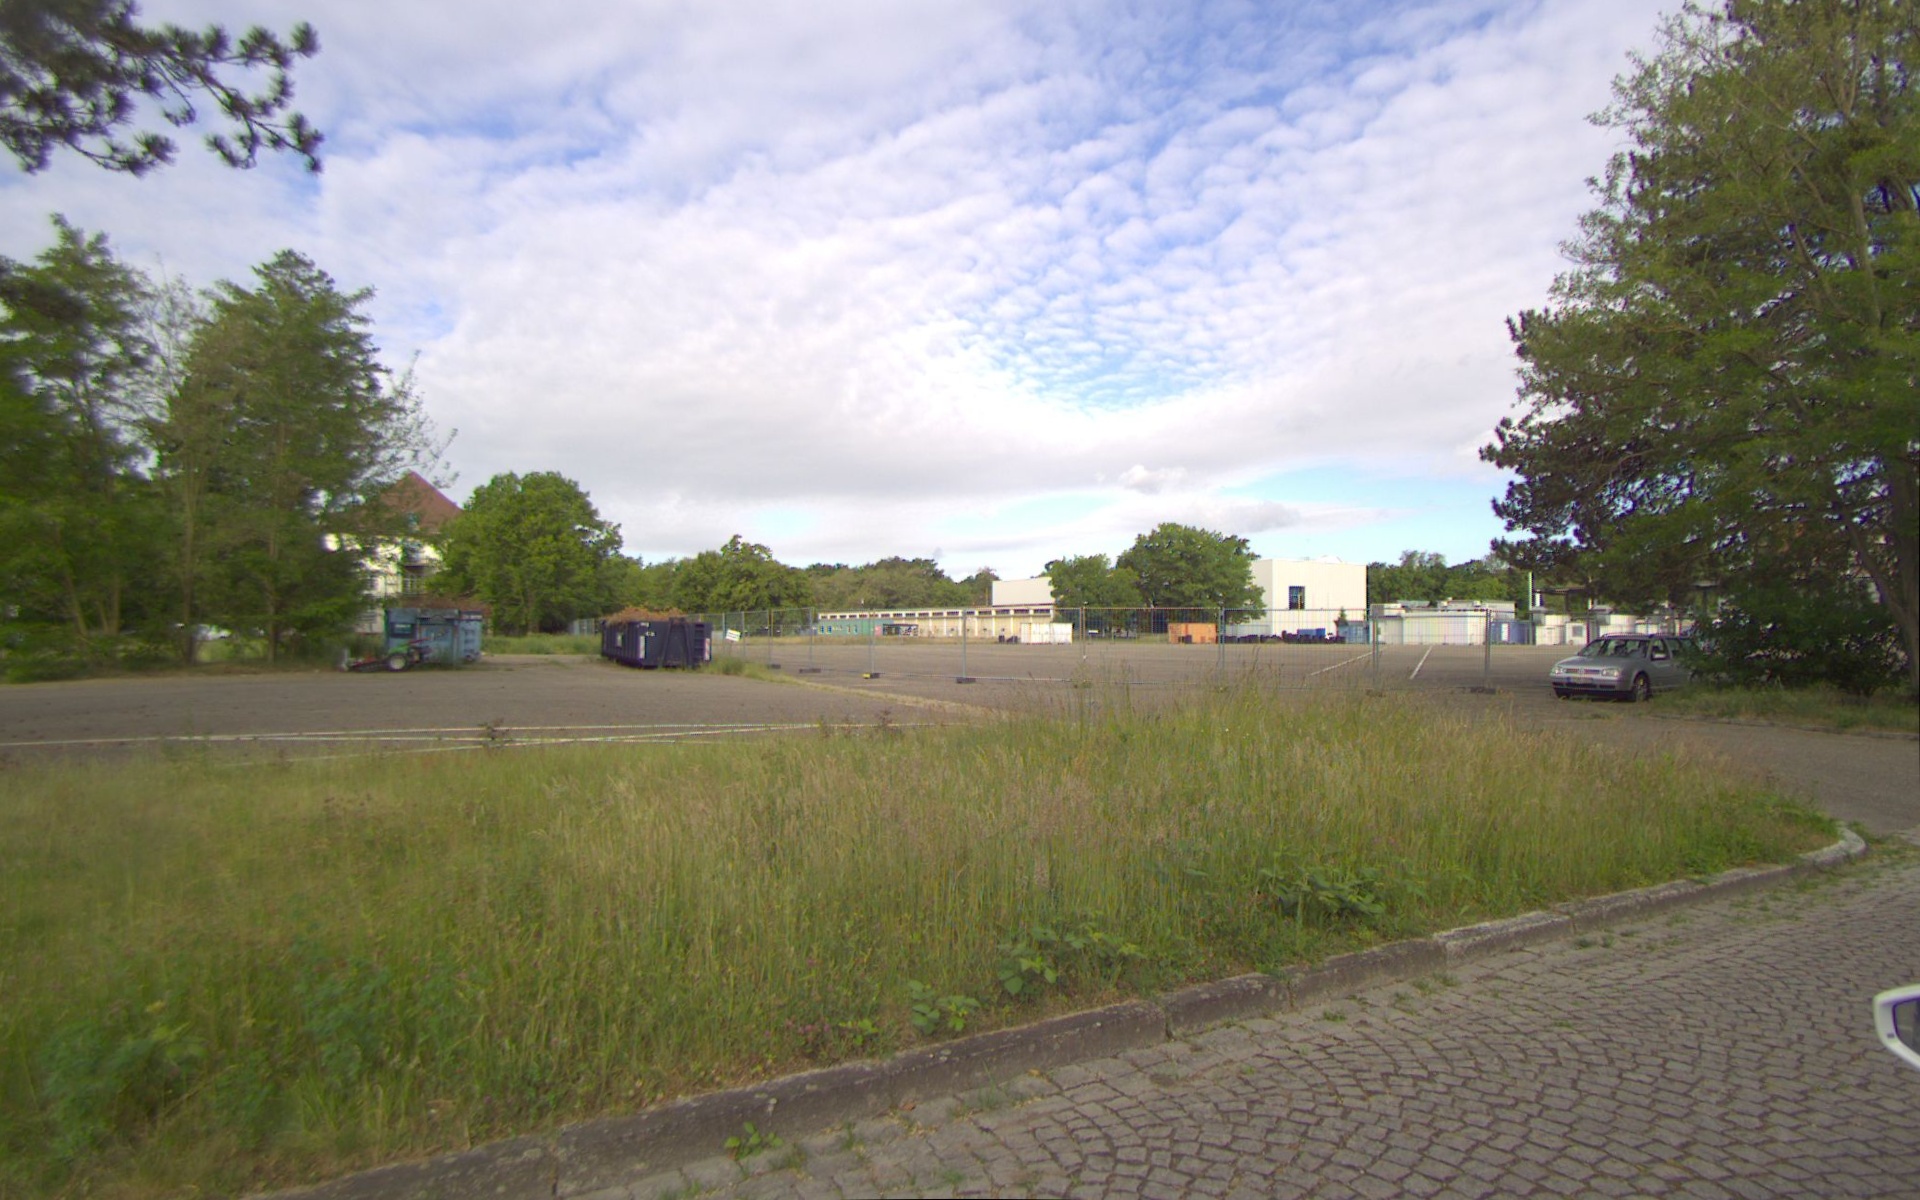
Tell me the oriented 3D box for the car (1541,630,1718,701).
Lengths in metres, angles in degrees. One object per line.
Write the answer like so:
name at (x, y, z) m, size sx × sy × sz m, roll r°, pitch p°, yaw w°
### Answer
car at (15.239, 1.424, 22.801) m, size 4.417 × 1.457 × 1.706 m, roll 1°, pitch -2°, yaw -32°

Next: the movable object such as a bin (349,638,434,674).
movable object such as a bin at (-15.461, 1.509, 27.344) m, size 1.917 × 0.945 × 1.031 m, roll 1°, pitch -3°, yaw -37°
